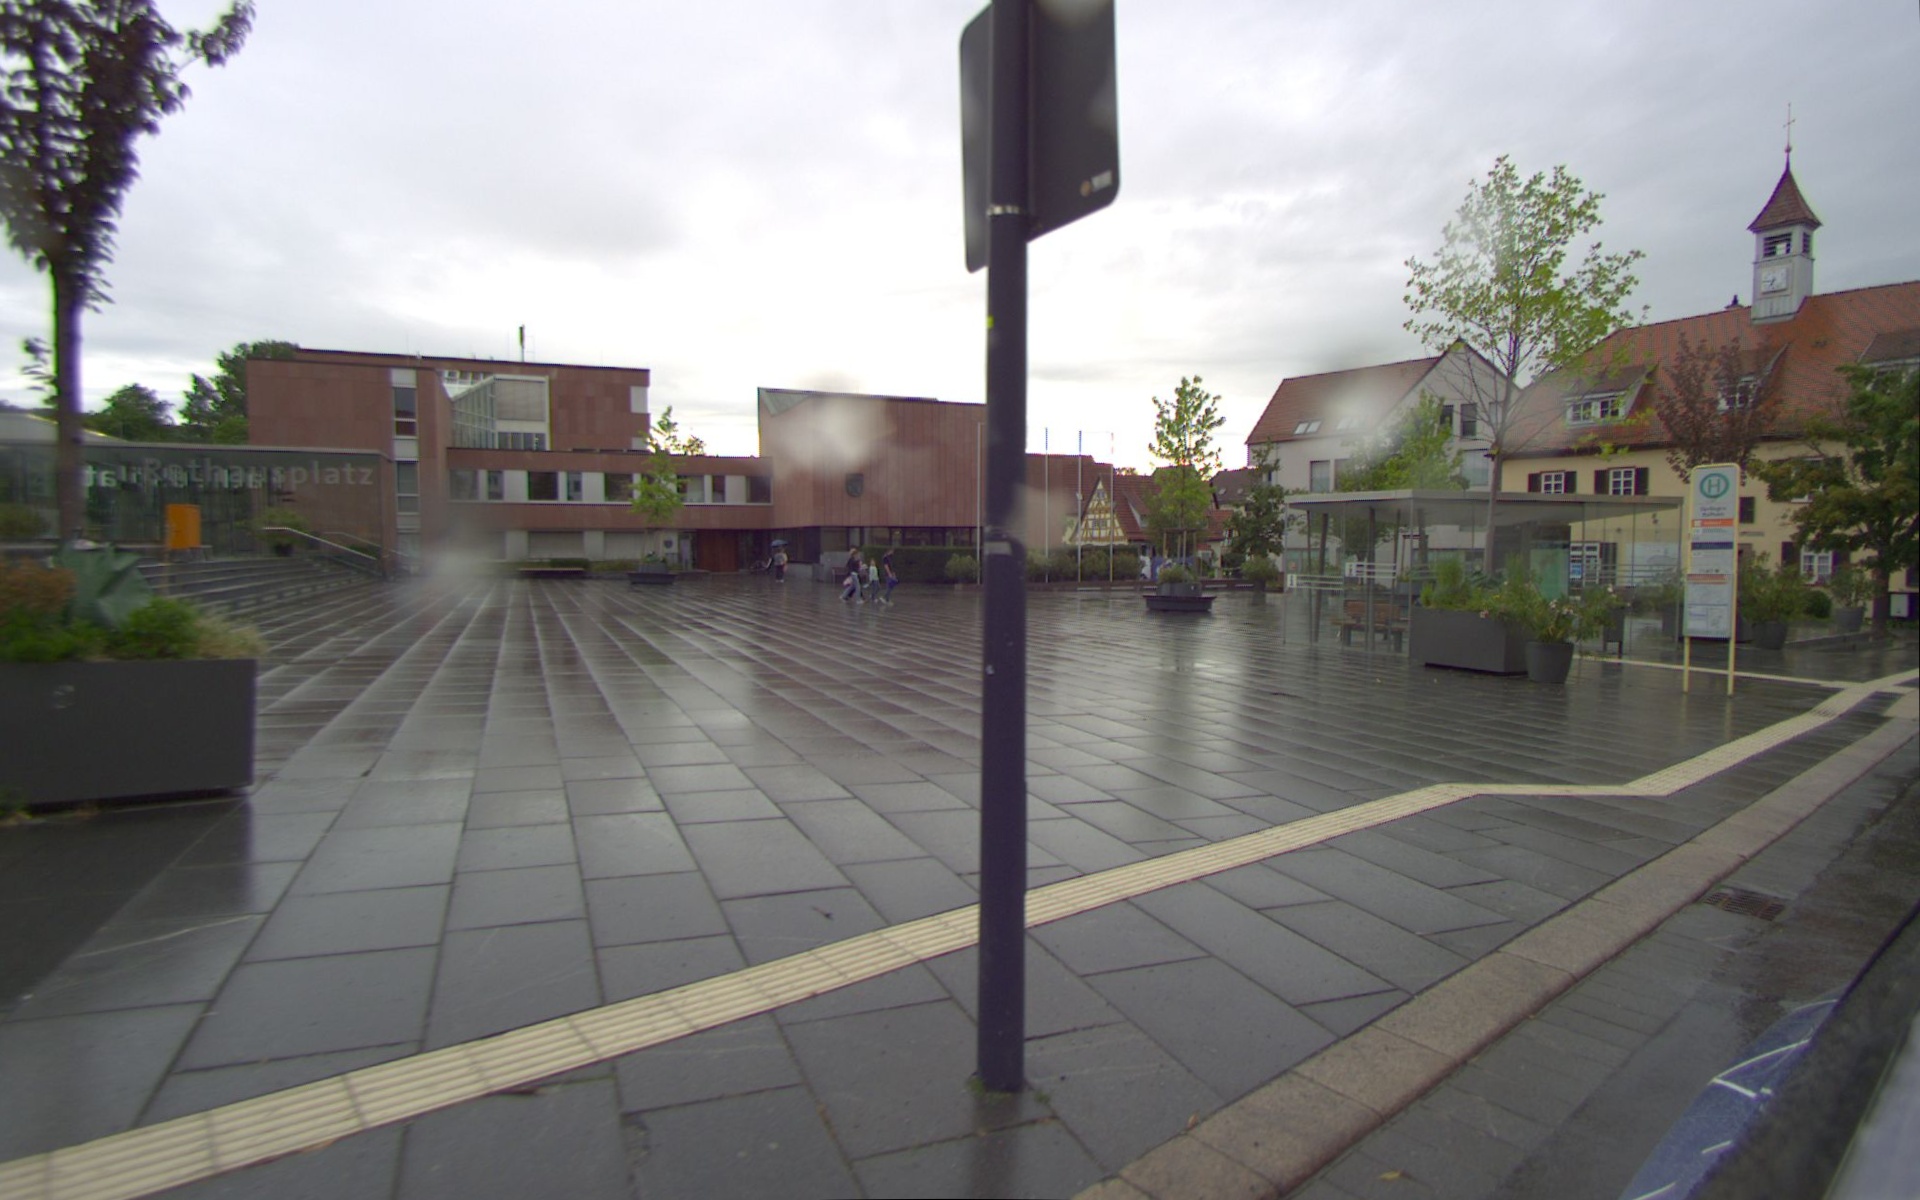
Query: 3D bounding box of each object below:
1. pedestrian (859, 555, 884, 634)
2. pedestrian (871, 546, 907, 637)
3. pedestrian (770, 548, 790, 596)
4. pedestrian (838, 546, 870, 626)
[{"bbox_3d":[-2.833,-0.192,32.429,0.557,2.468,0.738,0,3,-23],"label":"pedestrian"},{"bbox_3d":[-2.175,-0.286,30.868,0.814,2.716,1.060,0,3,-19],"label":"pedestrian"},{"bbox_3d":[-9.041,-1.413,50.818,0.783,2.336,0.905,0,3,-27],"label":"pedestrian"},{"bbox_3d":[-3.324,-0.453,31.655,0.760,2.468,0.946,0,3,-21],"label":"pedestrian"}]
